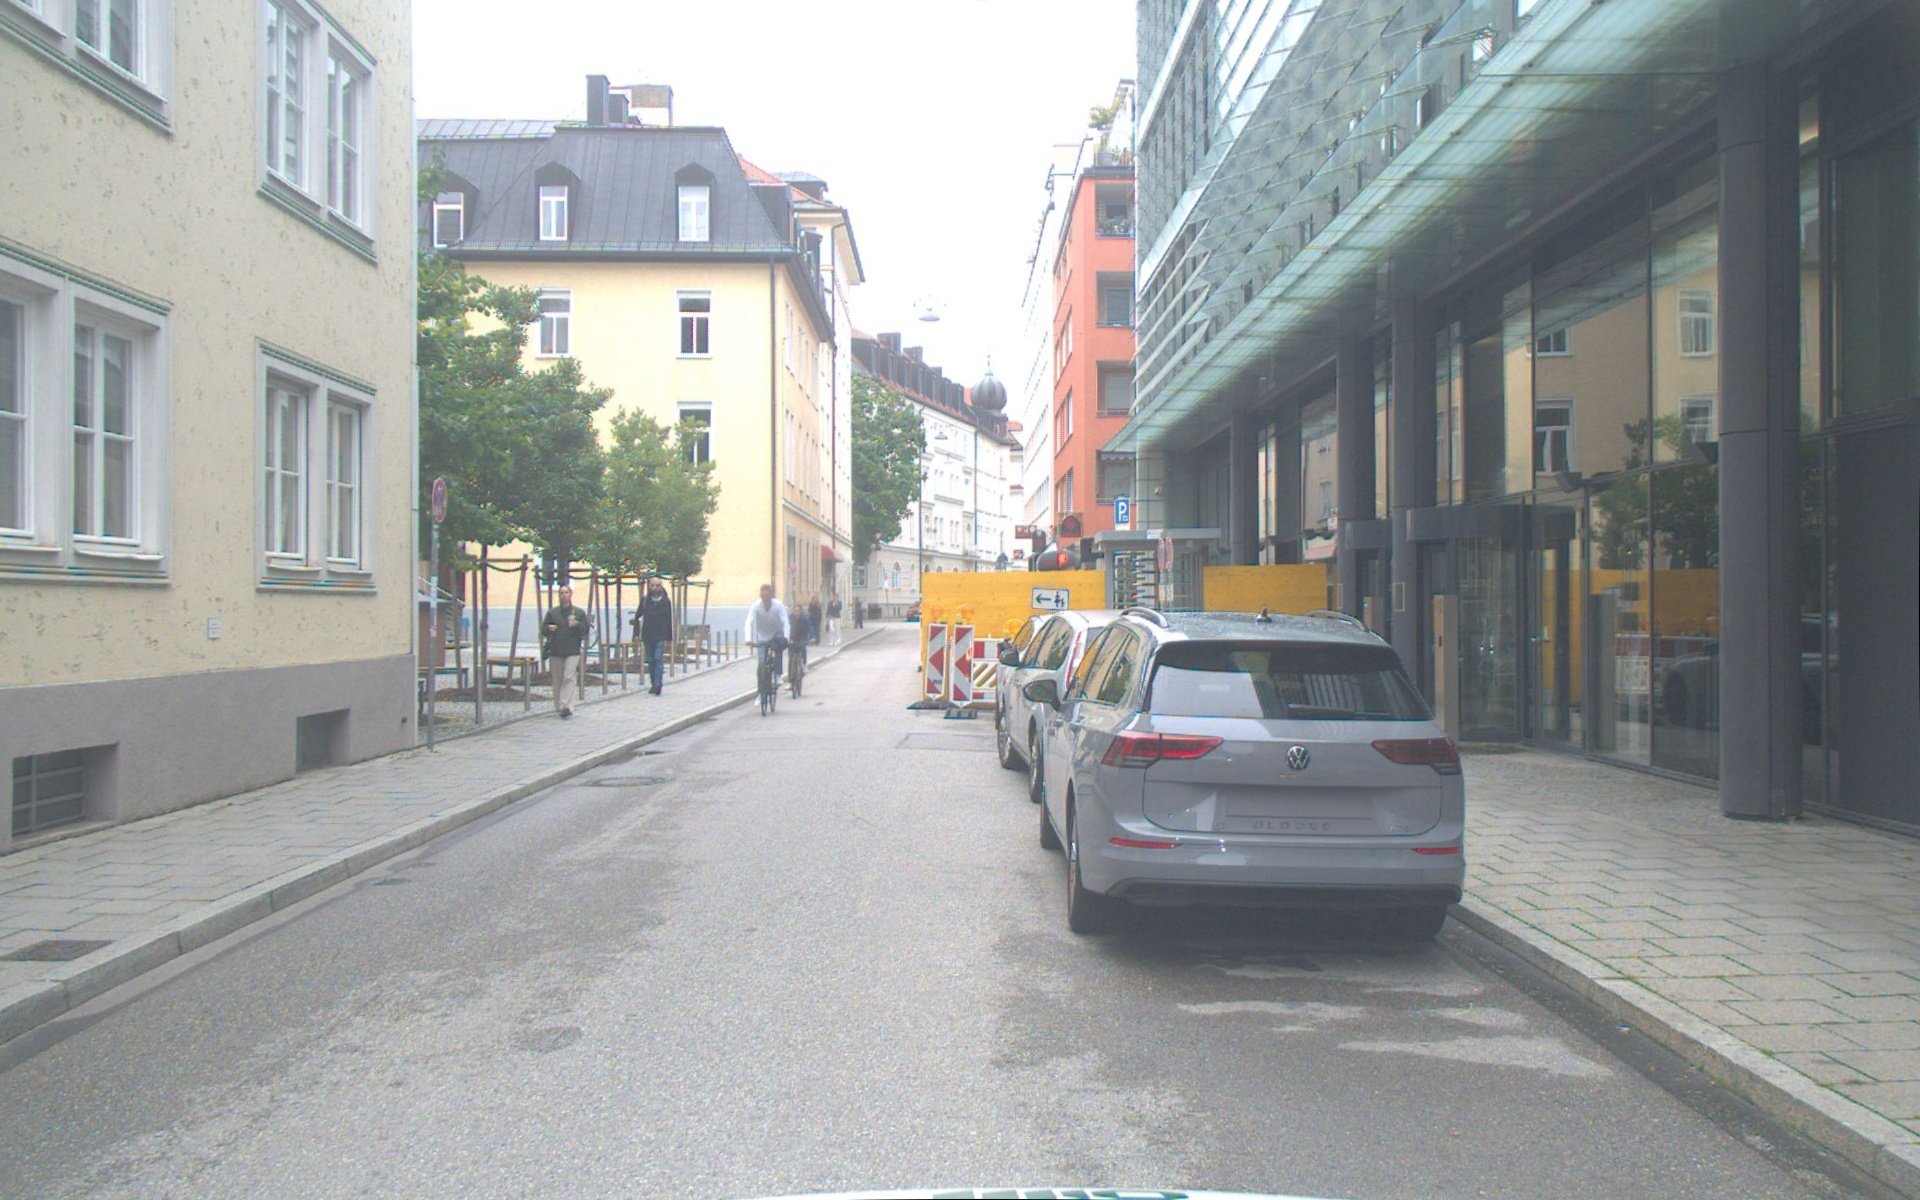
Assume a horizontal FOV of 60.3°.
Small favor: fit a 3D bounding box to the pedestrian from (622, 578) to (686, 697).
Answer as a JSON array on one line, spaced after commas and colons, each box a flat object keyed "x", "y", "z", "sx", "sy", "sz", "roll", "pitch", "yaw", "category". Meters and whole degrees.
[{"x": -5.022, "y": 0.608, "z": 27.203, "sx": 0.850, "sy": 1.914, "sz": 1.134, "roll": 1, "pitch": -1, "yaw": -2, "category": "pedestrian"}]

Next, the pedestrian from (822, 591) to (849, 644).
[{"x": -4.151, "y": 0.584, "z": 55.196, "sx": 0.822, "sy": 1.730, "sz": 0.803, "roll": 0, "pitch": -1, "yaw": -1, "category": "pedestrian"}]

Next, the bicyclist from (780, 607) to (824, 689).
[{"x": -2.745, "y": 0.822, "z": 28.774, "sx": 0.693, "sy": 1.395, "sz": 0.813, "roll": -1, "pitch": 0, "yaw": -1, "category": "bicyclist"}]

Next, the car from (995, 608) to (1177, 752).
[{"x": 1.338, "y": 0.838, "z": 19.159, "sx": 1.673, "sy": 1.439, "sz": 4.508, "roll": 1, "pitch": -1, "yaw": -1, "category": "car"}]

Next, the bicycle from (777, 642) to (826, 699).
[{"x": -2.743, "y": 1.210, "z": 28.807, "sx": 0.693, "sy": 0.921, "sz": 1.809, "roll": -1, "pitch": 0, "yaw": -1, "category": "bicycle"}]

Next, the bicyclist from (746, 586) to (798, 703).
[{"x": -2.741, "y": 0.643, "z": 24.206, "sx": 0.646, "sy": 1.672, "sz": 0.895, "roll": -1, "pitch": 0, "yaw": -1, "category": "bicyclist"}]

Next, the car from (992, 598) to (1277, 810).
[{"x": 1.300, "y": 0.768, "z": 14.000, "sx": 1.674, "sy": 1.493, "sz": 4.233, "roll": 1, "pitch": -1, "yaw": -4, "category": "car"}]

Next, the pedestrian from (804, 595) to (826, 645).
[{"x": -4.874, "y": 0.665, "z": 55.563, "sx": 0.656, "sy": 1.677, "sz": 0.761, "roll": 0, "pitch": -1, "yaw": -1, "category": "pedestrian"}]

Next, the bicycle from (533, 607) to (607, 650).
[{"x": -11.309, "y": 0.820, "z": 47.975, "sx": 2.000, "sy": 1.218, "sz": 0.570, "roll": 0, "pitch": 0, "yaw": 6, "category": "bicycle"}]

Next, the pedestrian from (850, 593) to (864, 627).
[{"x": -5.213, "y": 0.494, "z": 83.745, "sx": 0.621, "sy": 1.704, "sz": 0.517, "roll": 0, "pitch": 0, "yaw": -1, "category": "pedestrian"}]

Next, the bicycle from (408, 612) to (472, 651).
[{"x": -14.977, "y": 0.891, "z": 47.639, "sx": 1.621, "sy": 1.088, "sz": 0.598, "roll": 1, "pitch": 0, "yaw": 3, "category": "bicycle"}]

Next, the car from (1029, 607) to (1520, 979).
[{"x": 1.339, "y": 0.769, "z": 8.706, "sx": 1.673, "sy": 1.457, "sz": 4.328, "roll": 0, "pitch": 0, "yaw": -1, "category": "car"}]

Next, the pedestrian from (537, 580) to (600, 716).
[{"x": -4.983, "y": 0.604, "z": 21.093, "sx": 0.634, "sy": 1.706, "sz": 0.723, "roll": 1, "pitch": -1, "yaw": -2, "category": "pedestrian"}]

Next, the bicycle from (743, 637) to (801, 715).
[{"x": -2.743, "y": 1.090, "z": 24.265, "sx": 0.648, "sy": 1.057, "sz": 2.004, "roll": -1, "pitch": 0, "yaw": -1, "category": "bicycle"}]

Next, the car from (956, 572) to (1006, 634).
[{"x": 0.873, "y": 0.130, "z": 71.282, "sx": 1.953, "sy": 2.581, "sz": 4.973, "roll": 0, "pitch": 0, "yaw": -1, "category": "car"}]
